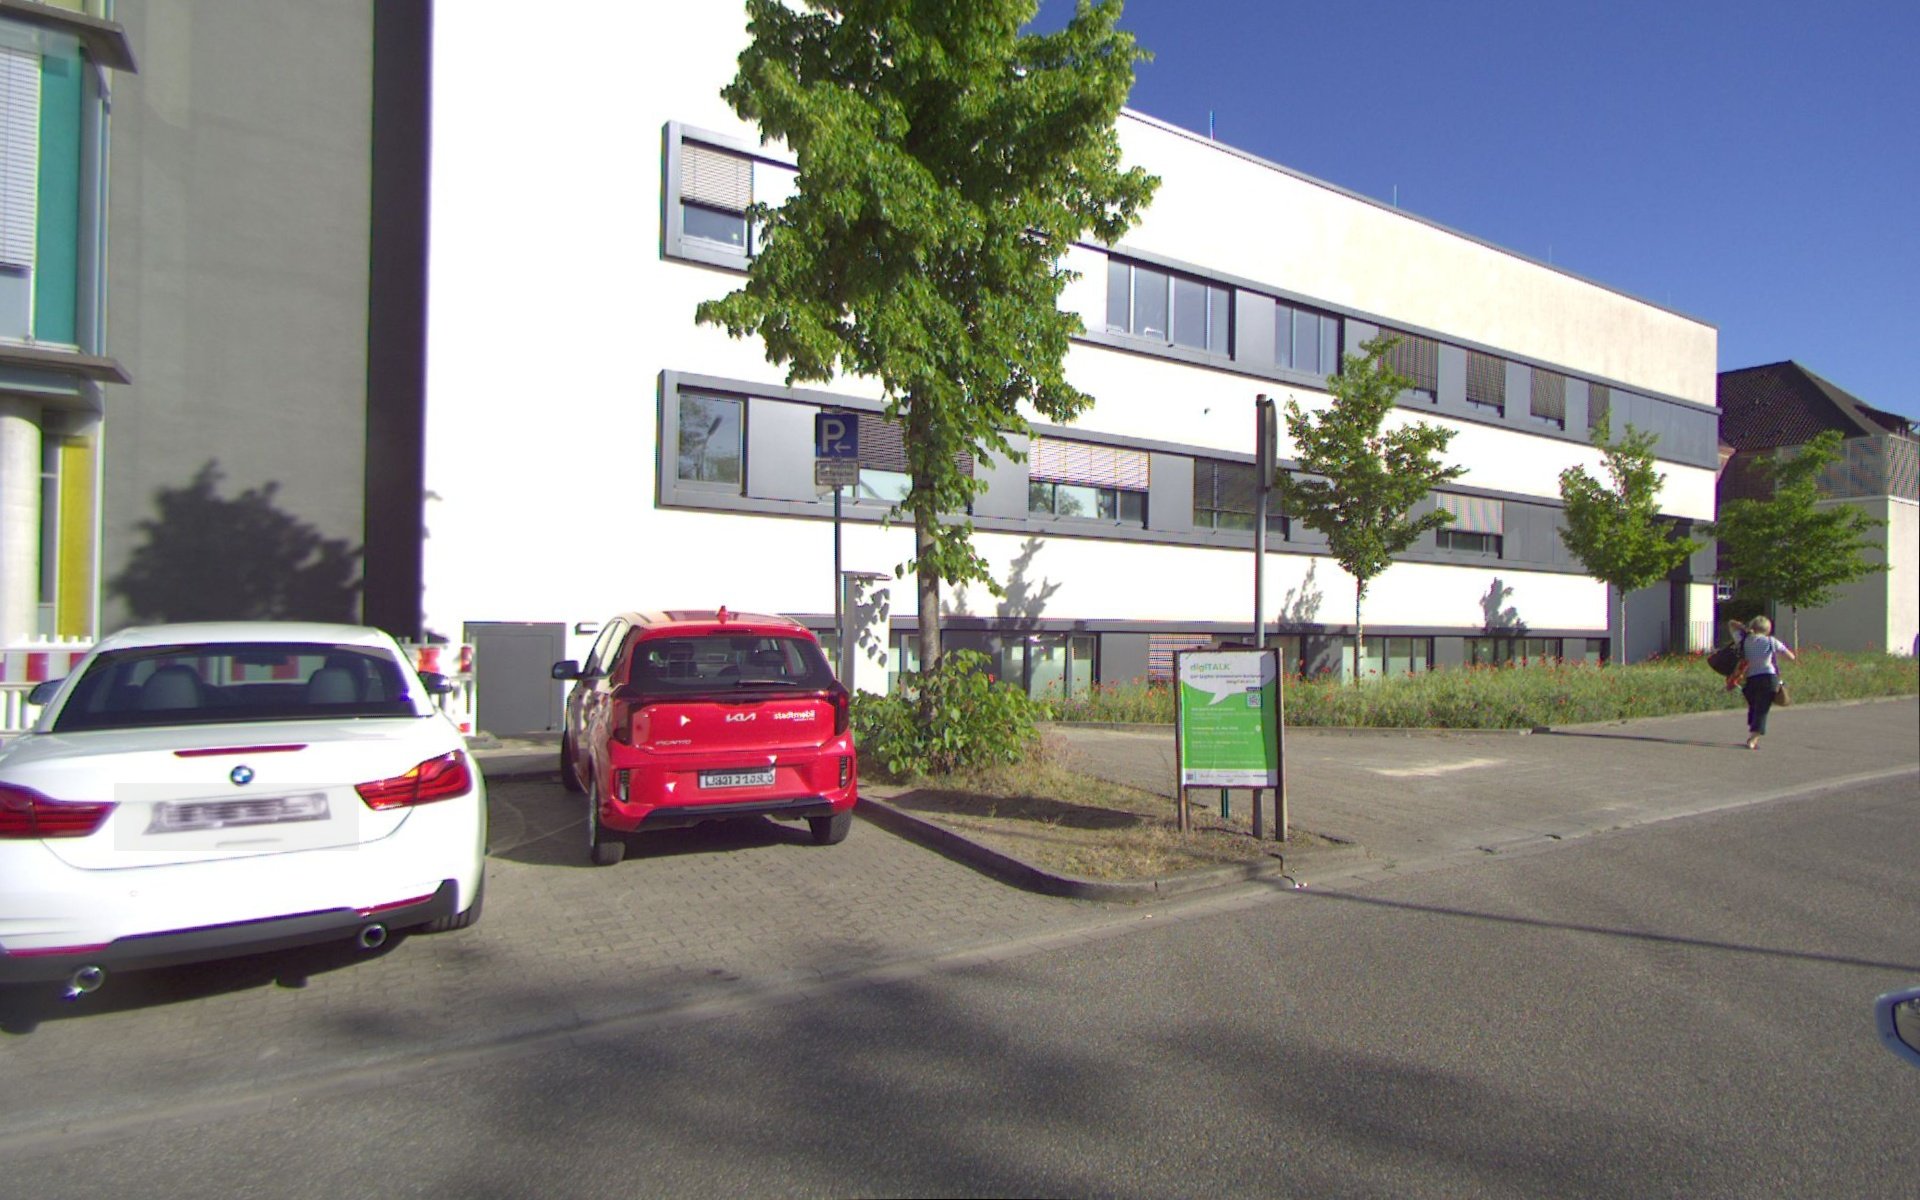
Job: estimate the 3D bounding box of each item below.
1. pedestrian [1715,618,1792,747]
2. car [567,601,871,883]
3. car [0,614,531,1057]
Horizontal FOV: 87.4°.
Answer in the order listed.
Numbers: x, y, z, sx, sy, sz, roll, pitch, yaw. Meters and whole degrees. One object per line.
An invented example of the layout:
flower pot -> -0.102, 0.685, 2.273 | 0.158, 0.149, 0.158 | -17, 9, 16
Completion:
pedestrian -> 9.942, 1.011, 12.588 | 0.600, 1.544, 0.535 | 1, 1, -30
car -> -1.993, 0.786, 7.455 | 1.591, 1.489, 3.625 | 1, 0, -23
car -> -3.573, 0.792, 5.444 | 1.681, 1.385, 4.489 | 1, -2, -31
